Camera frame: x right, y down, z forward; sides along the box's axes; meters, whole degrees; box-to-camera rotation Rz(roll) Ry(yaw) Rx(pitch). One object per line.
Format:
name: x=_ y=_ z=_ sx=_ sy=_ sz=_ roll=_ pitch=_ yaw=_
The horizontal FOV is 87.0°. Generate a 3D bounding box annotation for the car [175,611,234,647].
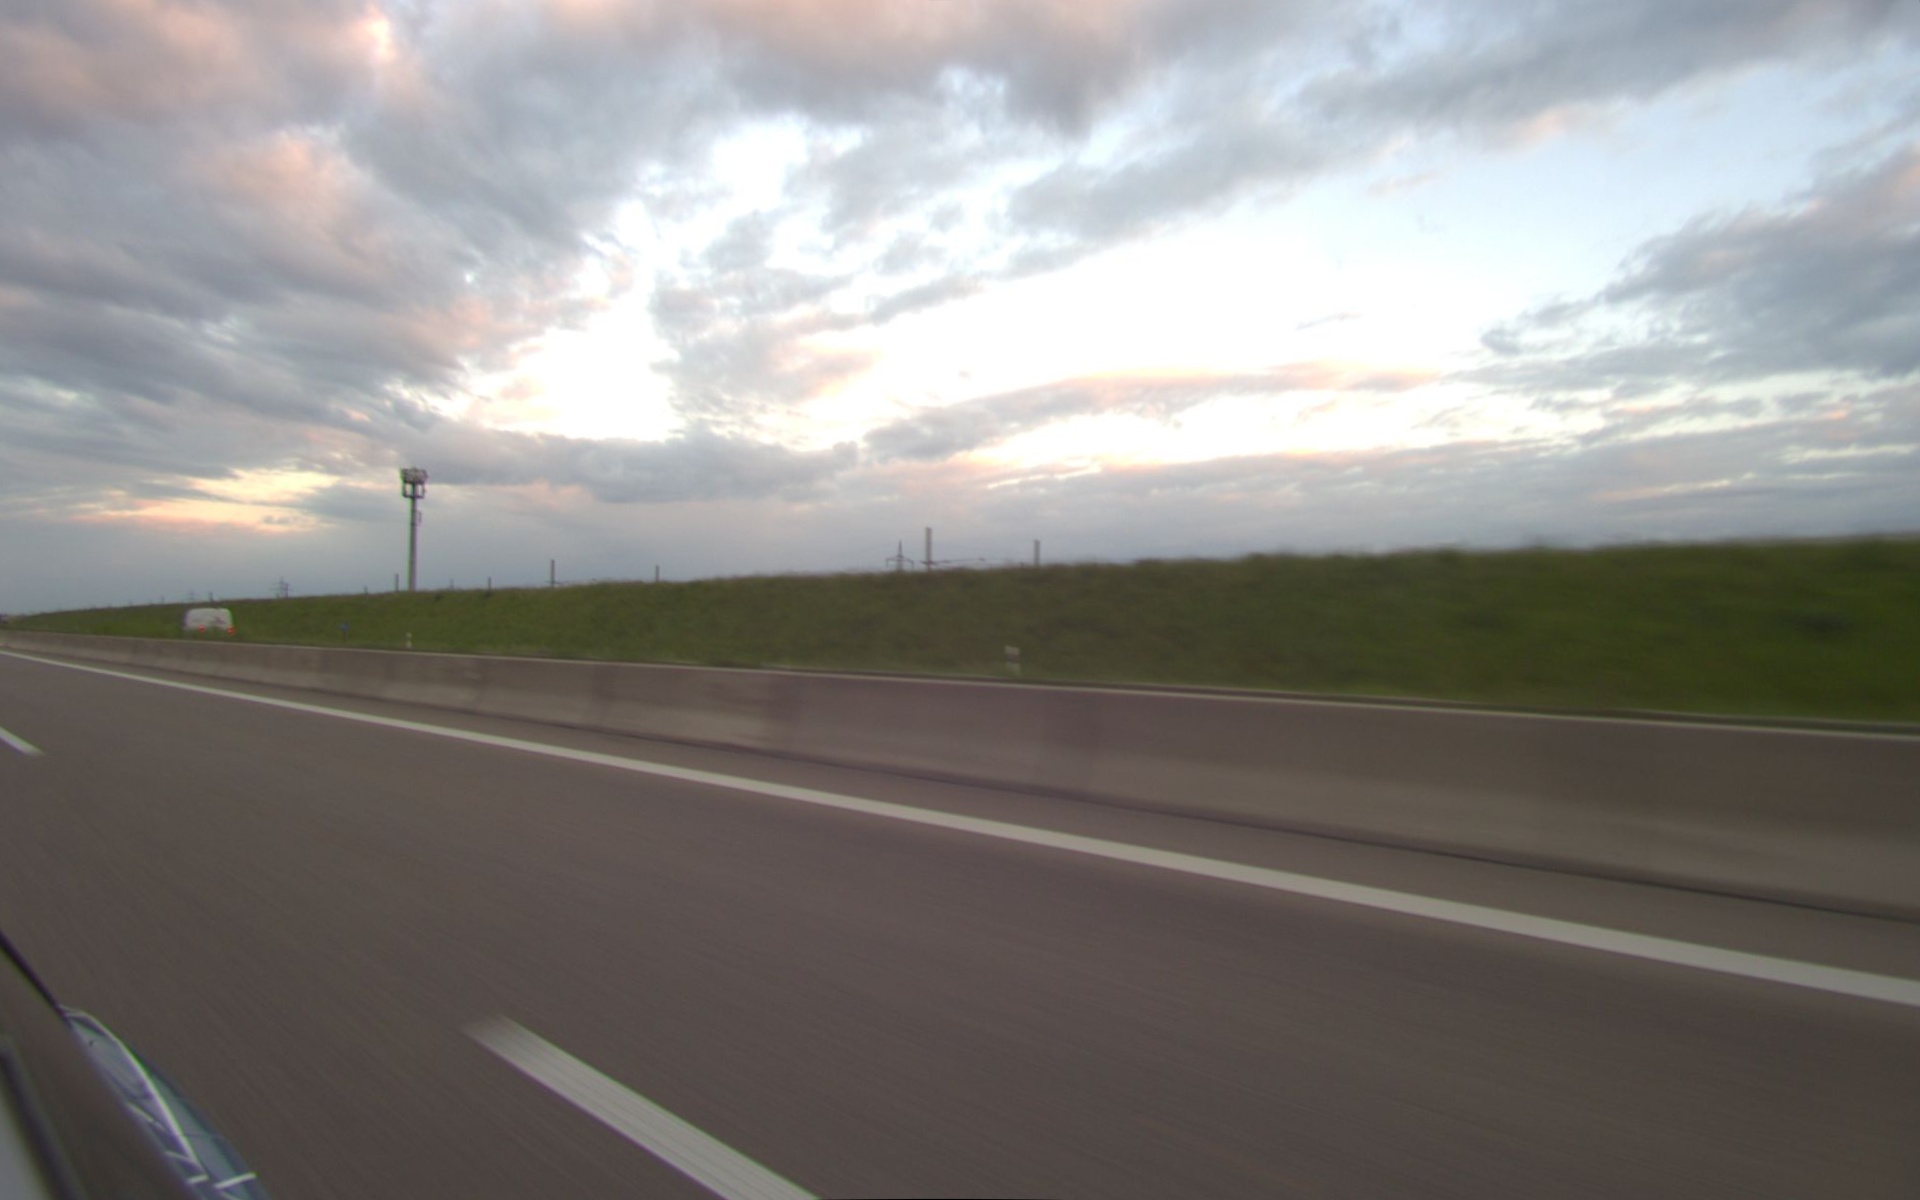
car: x=-56.253 y=2.126 z=75.307 sx=7.374 sy=2.566 sz=1.973 roll=-1 pitch=-2 yaw=41
